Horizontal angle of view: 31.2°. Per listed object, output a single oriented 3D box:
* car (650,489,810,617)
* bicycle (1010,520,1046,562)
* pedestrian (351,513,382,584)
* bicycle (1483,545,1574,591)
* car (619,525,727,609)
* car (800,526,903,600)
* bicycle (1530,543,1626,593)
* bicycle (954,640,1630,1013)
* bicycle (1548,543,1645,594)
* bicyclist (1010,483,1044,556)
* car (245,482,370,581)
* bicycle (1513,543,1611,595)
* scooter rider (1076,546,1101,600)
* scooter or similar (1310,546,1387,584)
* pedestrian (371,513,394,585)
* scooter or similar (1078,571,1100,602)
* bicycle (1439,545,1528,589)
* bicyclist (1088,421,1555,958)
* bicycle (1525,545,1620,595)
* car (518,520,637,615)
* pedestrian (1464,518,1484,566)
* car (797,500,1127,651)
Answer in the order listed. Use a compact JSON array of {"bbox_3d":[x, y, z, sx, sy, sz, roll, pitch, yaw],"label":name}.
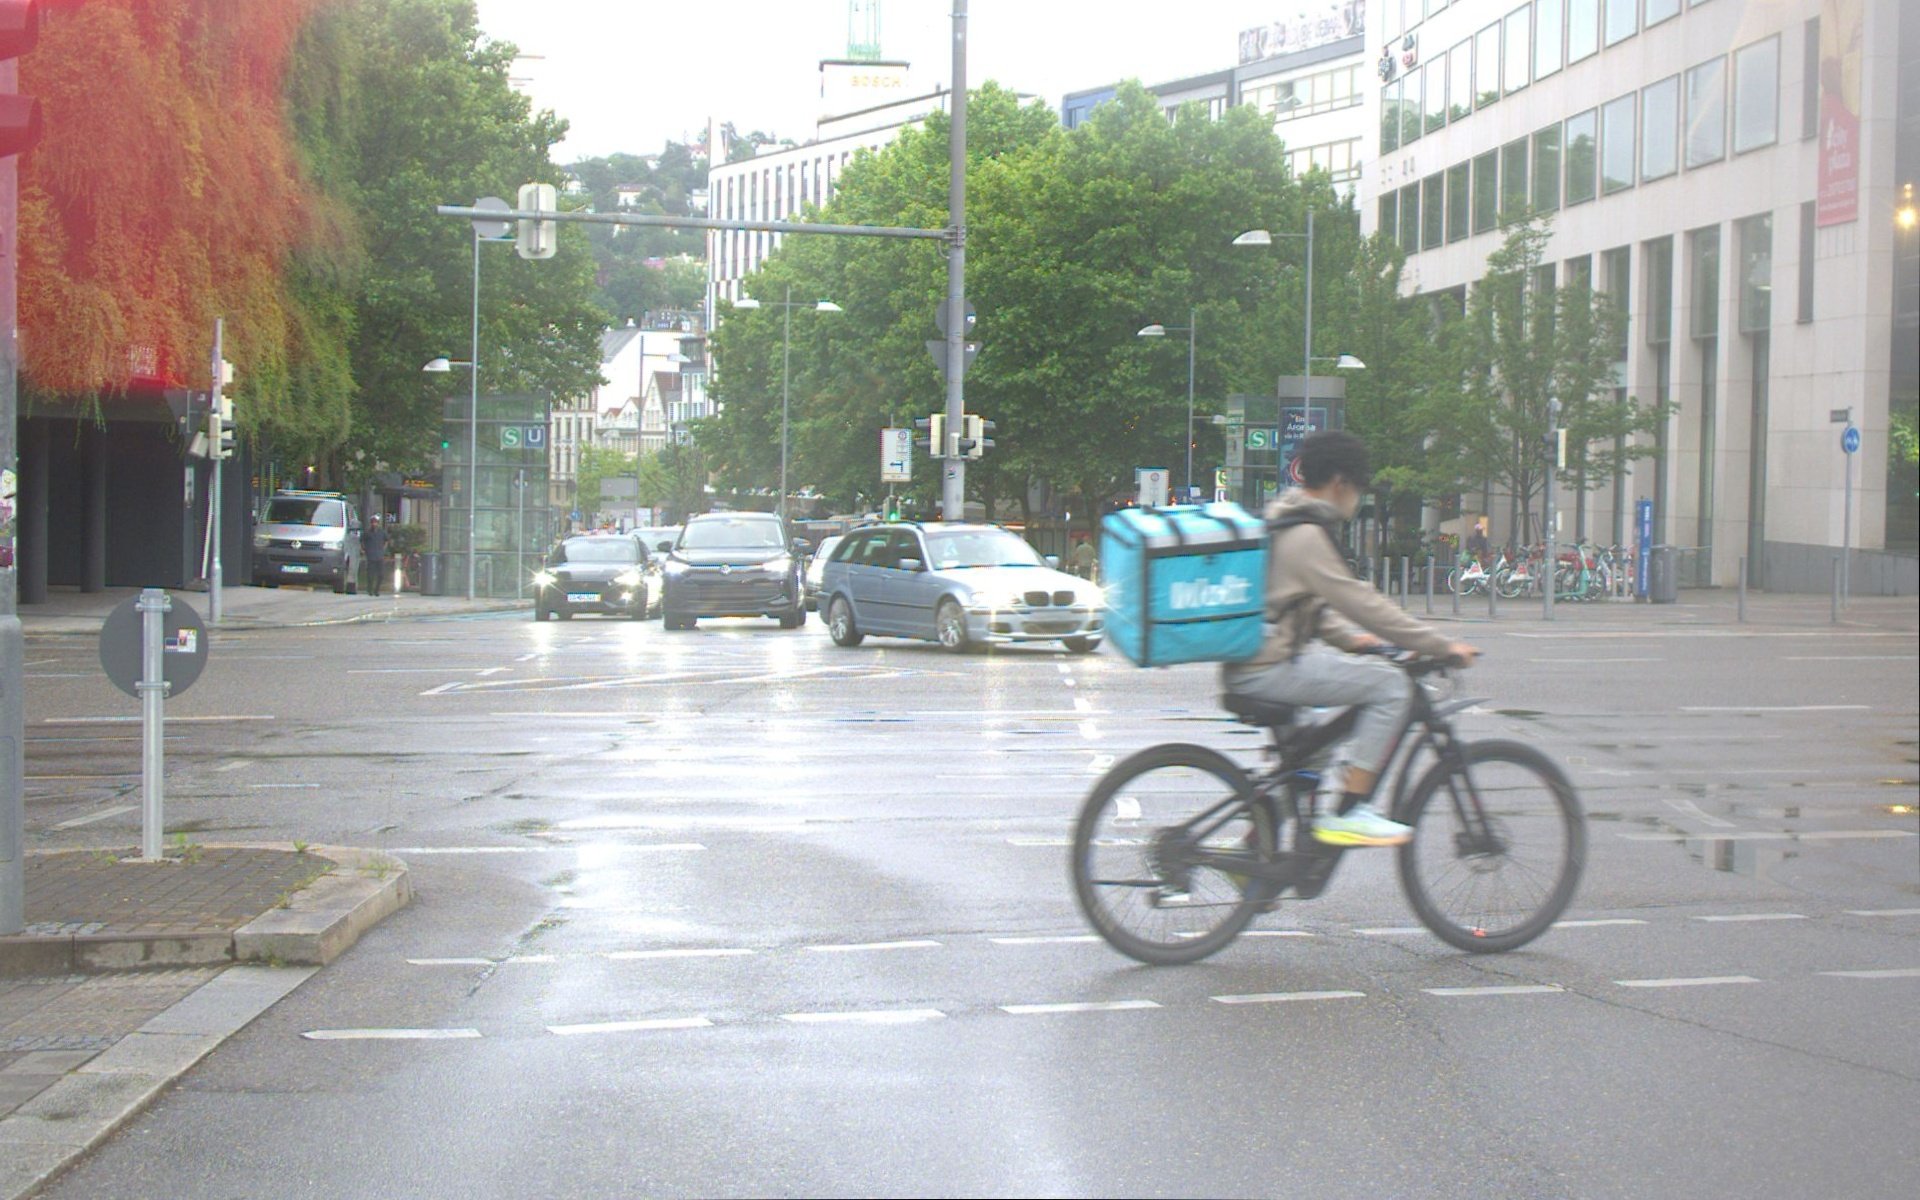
[{"bbox_3d":[-3.155,-0.700,47.926,1.964,1.649,4.365,0,3,0],"label":"car"},{"bbox_3d":[1.819,-1.588,92.502,0.791,1.113,2.256,0,1,-3],"label":"bicycle"},{"bbox_3d":[-12.650,-1.097,73.267,0.607,1.519,0.588,0,1,-5],"label":"pedestrian"},{"bbox_3d":[11.727,-0.664,70.912,1.794,0.931,0.475,0,1,3],"label":"bicycle"},{"bbox_3d":[-5.402,-0.642,64.334,1.856,1.443,4.622,0,2,-7],"label":"car"},{"bbox_3d":[-2.261,-0.785,70.444,1.993,1.439,4.556,0,1,-3],"label":"car"},{"bbox_3d":[11.828,-0.610,65.839,1.799,0.931,0.474,1,2,41],"label":"bicycle"},{"bbox_3d":[1.126,0.712,11.524,2.145,1.099,0.848,0,1,-29],"label":"bicycle"},{"bbox_3d":[12.003,-0.594,64.873,1.799,0.931,0.474,1,2,41],"label":"bicycle"},{"bbox_3d":[1.803,-2.168,92.577,0.791,1.968,1.114,0,1,-4],"label":"bicyclist"},{"bbox_3d":[-12.922,-1.366,68.309,1.993,1.888,4.466,0,1,-5],"label":"car"},{"bbox_3d":[11.238,-0.583,64.231,1.799,0.931,0.474,1,2,41],"label":"bicycle"},{"bbox_3d":[4.249,-0.890,113.844,0.762,1.768,0.796,0,1,7],"label":"scooter rider"},{"bbox_3d":[9.026,-0.812,79.841,1.745,0.875,0.489,0,1,-19],"label":"scooter or similar"},{"bbox_3d":[-12.317,-1.095,73.283,0.436,1.519,0.548,0,1,-5],"label":"pedestrian"},{"bbox_3d":[4.274,-0.440,113.809,0.556,1.003,1.823,0,1,8],"label":"scooter or similar"},{"bbox_3d":[11.075,-0.698,72.760,1.794,0.931,0.475,0,1,3],"label":"bicycle"},{"bbox_3d":[1.206,0.270,11.525,1.294,1.698,0.848,0,1,-28],"label":"bicyclist"},{"bbox_3d":[11.857,-0.585,66.584,1.799,0.931,0.474,1,2,41],"label":"bicycle"},{"bbox_3d":[-6.270,-0.565,56.493,1.856,1.443,4.622,0,2,-6],"label":"car"},{"bbox_3d":[12.562,-1.412,84.018,0.352,1.169,0.415,0,1,-18],"label":"pedestrian"},{"bbox_3d":[-0.056,-0.326,37.771,1.993,1.481,4.465,-1,3,-24],"label":"car"}]
